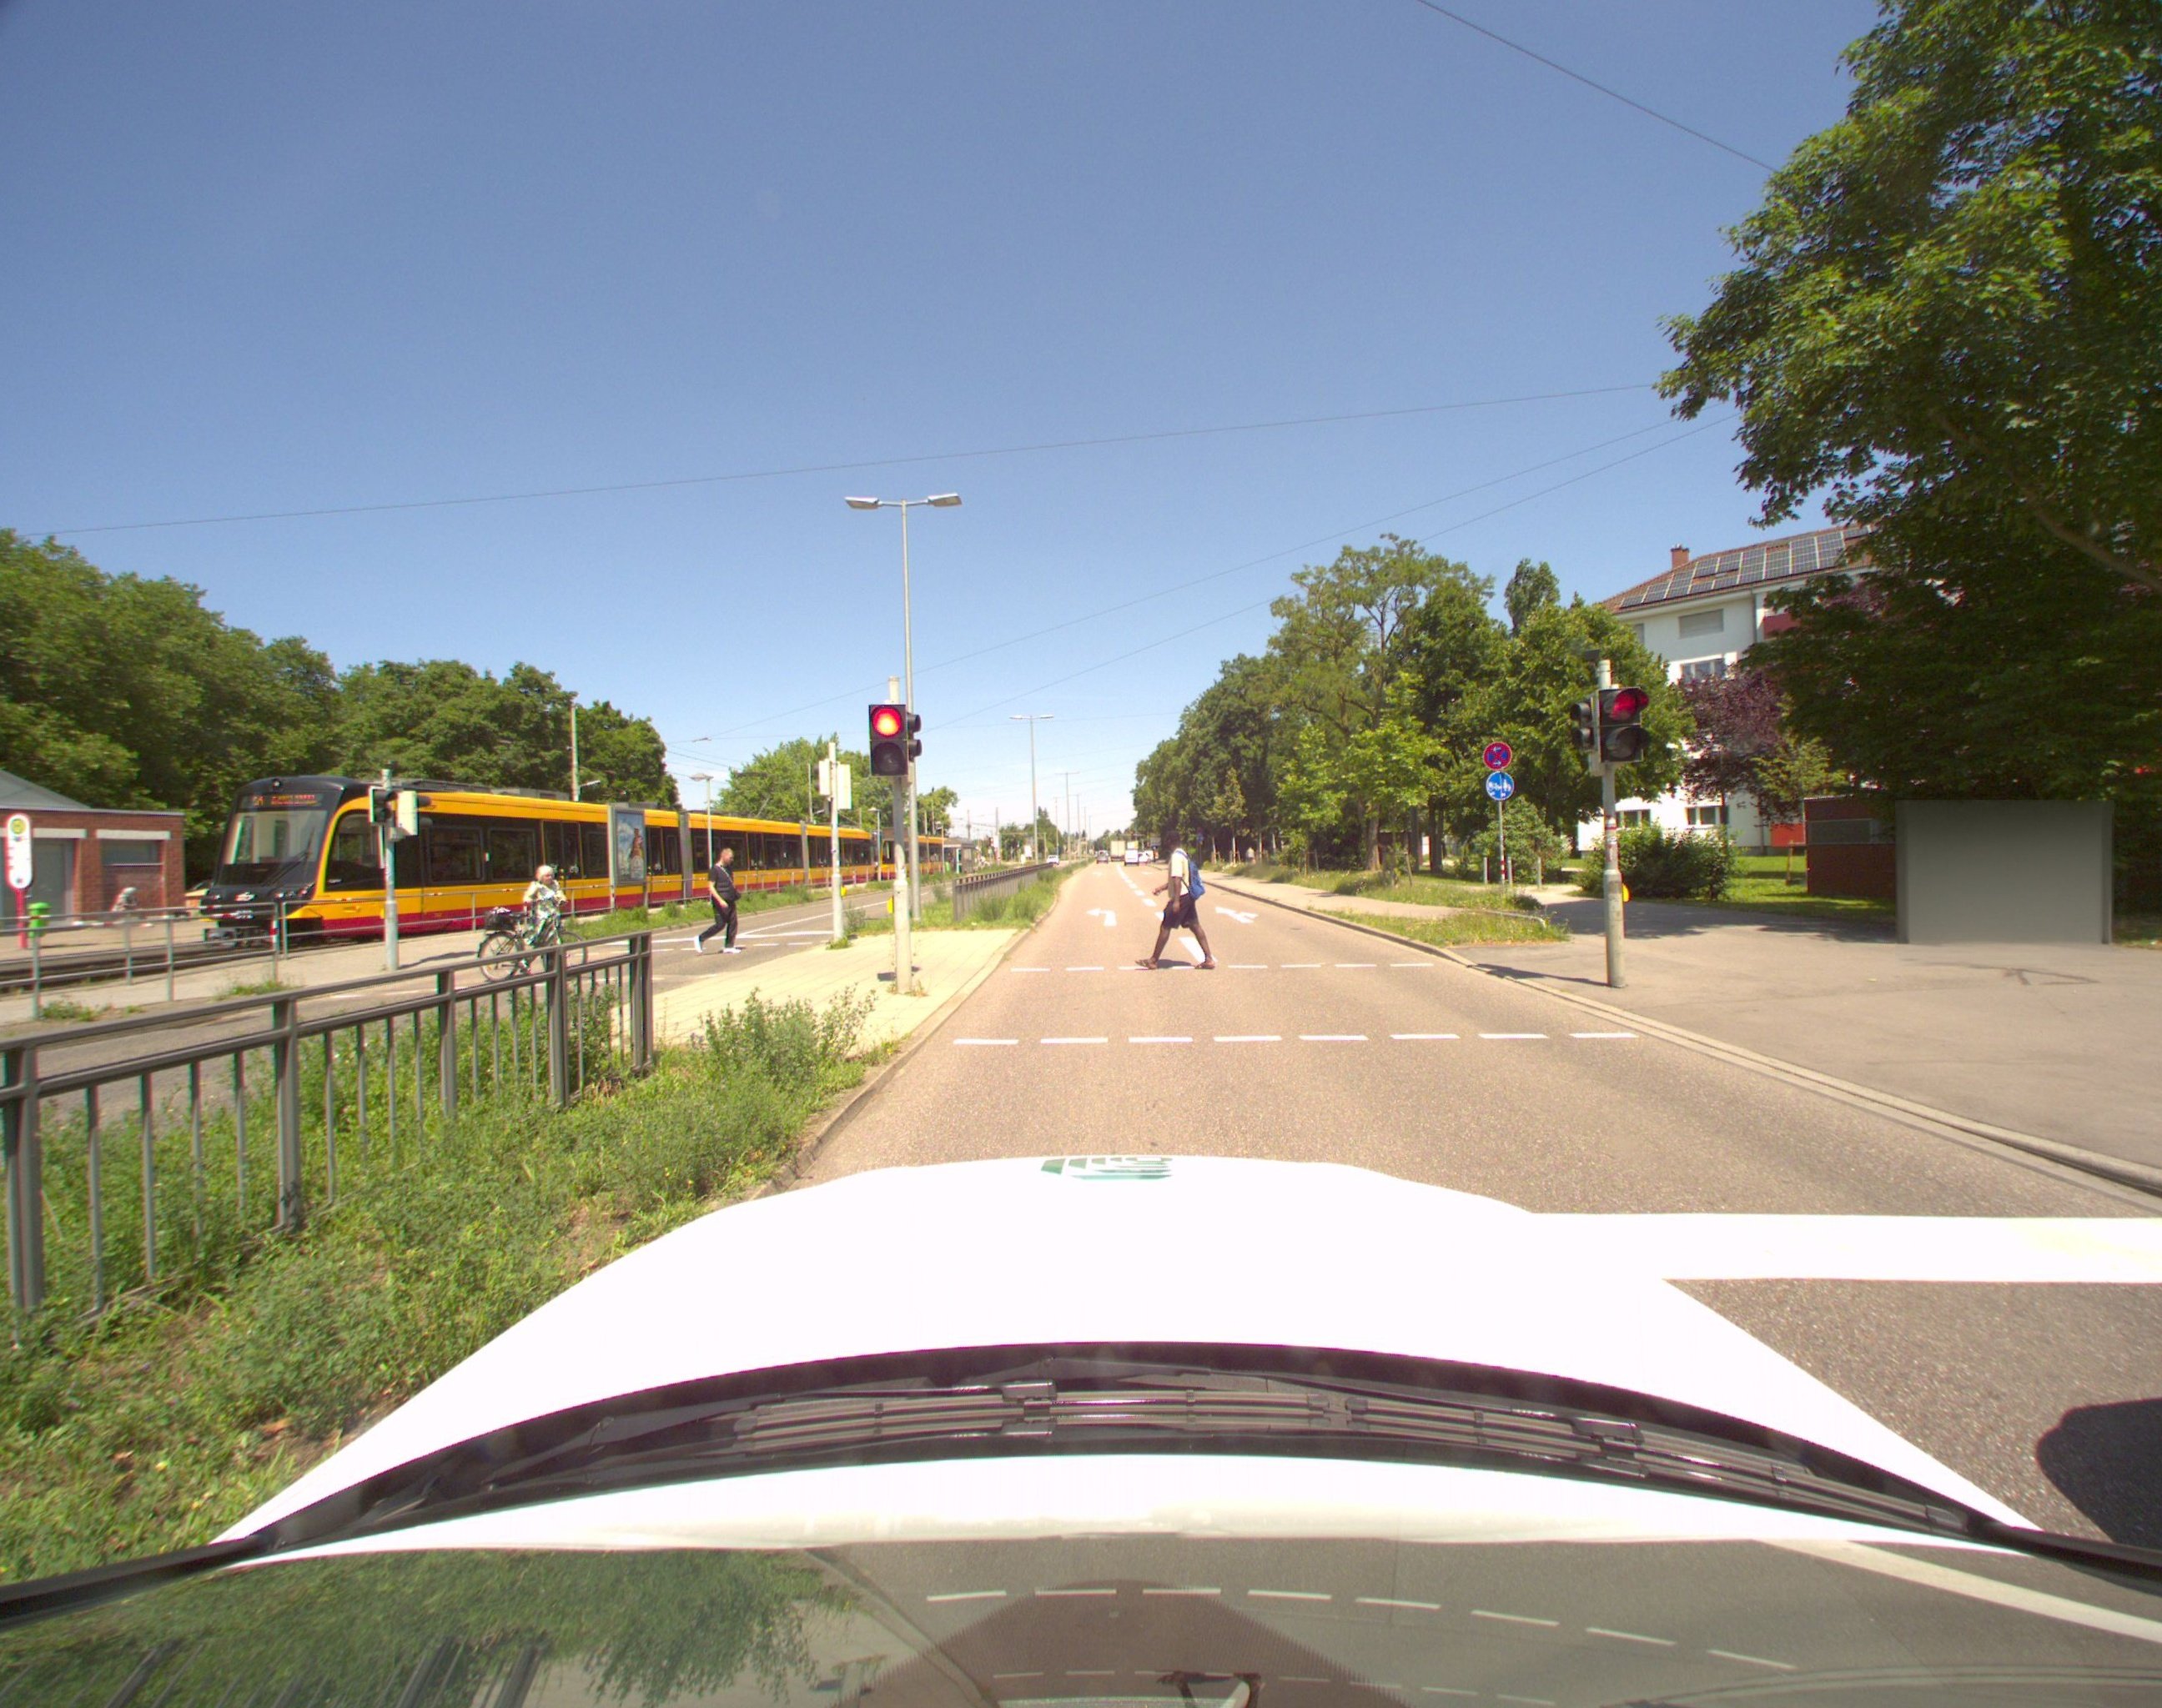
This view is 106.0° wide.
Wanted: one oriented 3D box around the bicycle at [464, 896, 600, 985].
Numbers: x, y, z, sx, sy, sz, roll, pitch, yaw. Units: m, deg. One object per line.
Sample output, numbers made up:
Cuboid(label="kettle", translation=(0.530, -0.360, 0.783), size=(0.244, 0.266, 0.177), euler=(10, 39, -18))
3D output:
Cuboid(label="bicycle", translation=(-7.878, 1.234, 11.678), size=(1.853, 1.157, 0.243), euler=(-4, -1, 7))

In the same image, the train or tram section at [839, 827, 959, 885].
Cuboid(label="train or tram section", translation=(-13.548, 0.122, 64.796), size=(2.777, 3.668, 26.010), euler=(-1, 0, 2))

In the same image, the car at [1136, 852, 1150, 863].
Cuboid(label="car", translation=(8.421, 0.470, 110.416), size=(1.796, 1.540, 4.002), euler=(0, 0, 2))

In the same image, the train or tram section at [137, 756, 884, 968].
Cuboid(label="train or tram section", translation=(-14.613, 0.133, 33.102), size=(2.777, 3.668, 37.534), euler=(-1, 0, 2))

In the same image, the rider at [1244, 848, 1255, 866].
Cuboid(label="rider", translation=(11.927, 0.231, 57.583), size=(0.675, 1.281, 0.534), euler=(-1, 0, 1))

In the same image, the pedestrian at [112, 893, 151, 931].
Cuboid(label="pedestrian", translation=(-26.875, 1.648, 23.060), size=(0.479, 1.018, 0.523), euler=(-2, 0, 4))

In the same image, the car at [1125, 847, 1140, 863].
Cuboid(label="car", translation=(5.959, 0.139, 93.842), size=(1.720, 1.814, 4.005), euler=(0, 0, 4))

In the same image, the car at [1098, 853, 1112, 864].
Cuboid(label="car", translation=(3.438, 0.597, 117.183), size=(1.794, 1.486, 4.003), euler=(-2, 0, 3))

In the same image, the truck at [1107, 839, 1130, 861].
Cuboid(label="truck", translation=(6.715, -0.778, 148.733), size=(3.884, 3.812, 10.797), euler=(-2, 0, 2))

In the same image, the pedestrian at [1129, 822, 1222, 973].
Cuboid(label="pedestrian", translation=(1.222, 0.538, 10.426), size=(1.038, 1.850, 0.760), euler=(-1, 0, 15))

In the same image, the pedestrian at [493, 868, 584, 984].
Cuboid(label="pedestrian", translation=(-7.925, 1.035, 11.919), size=(0.815, 1.628, 0.707), euler=(-1, 0, 7))

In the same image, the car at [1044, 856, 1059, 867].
Cuboid(label="car", translation=(-4.437, 1.121, 124.538), size=(1.986, 1.650, 4.002), euler=(-2, 0, 2))

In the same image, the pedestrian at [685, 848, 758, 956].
Cuboid(label="pedestrian", translation=(-6.221, 0.808, 14.102), size=(0.949, 1.797, 0.710), euler=(-2, 0, 31))

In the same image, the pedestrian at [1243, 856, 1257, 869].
Cuboid(label="pedestrian", translation=(11.944, 0.603, 57.587), size=(0.675, 0.847, 1.774), euler=(-1, 0, 2))
